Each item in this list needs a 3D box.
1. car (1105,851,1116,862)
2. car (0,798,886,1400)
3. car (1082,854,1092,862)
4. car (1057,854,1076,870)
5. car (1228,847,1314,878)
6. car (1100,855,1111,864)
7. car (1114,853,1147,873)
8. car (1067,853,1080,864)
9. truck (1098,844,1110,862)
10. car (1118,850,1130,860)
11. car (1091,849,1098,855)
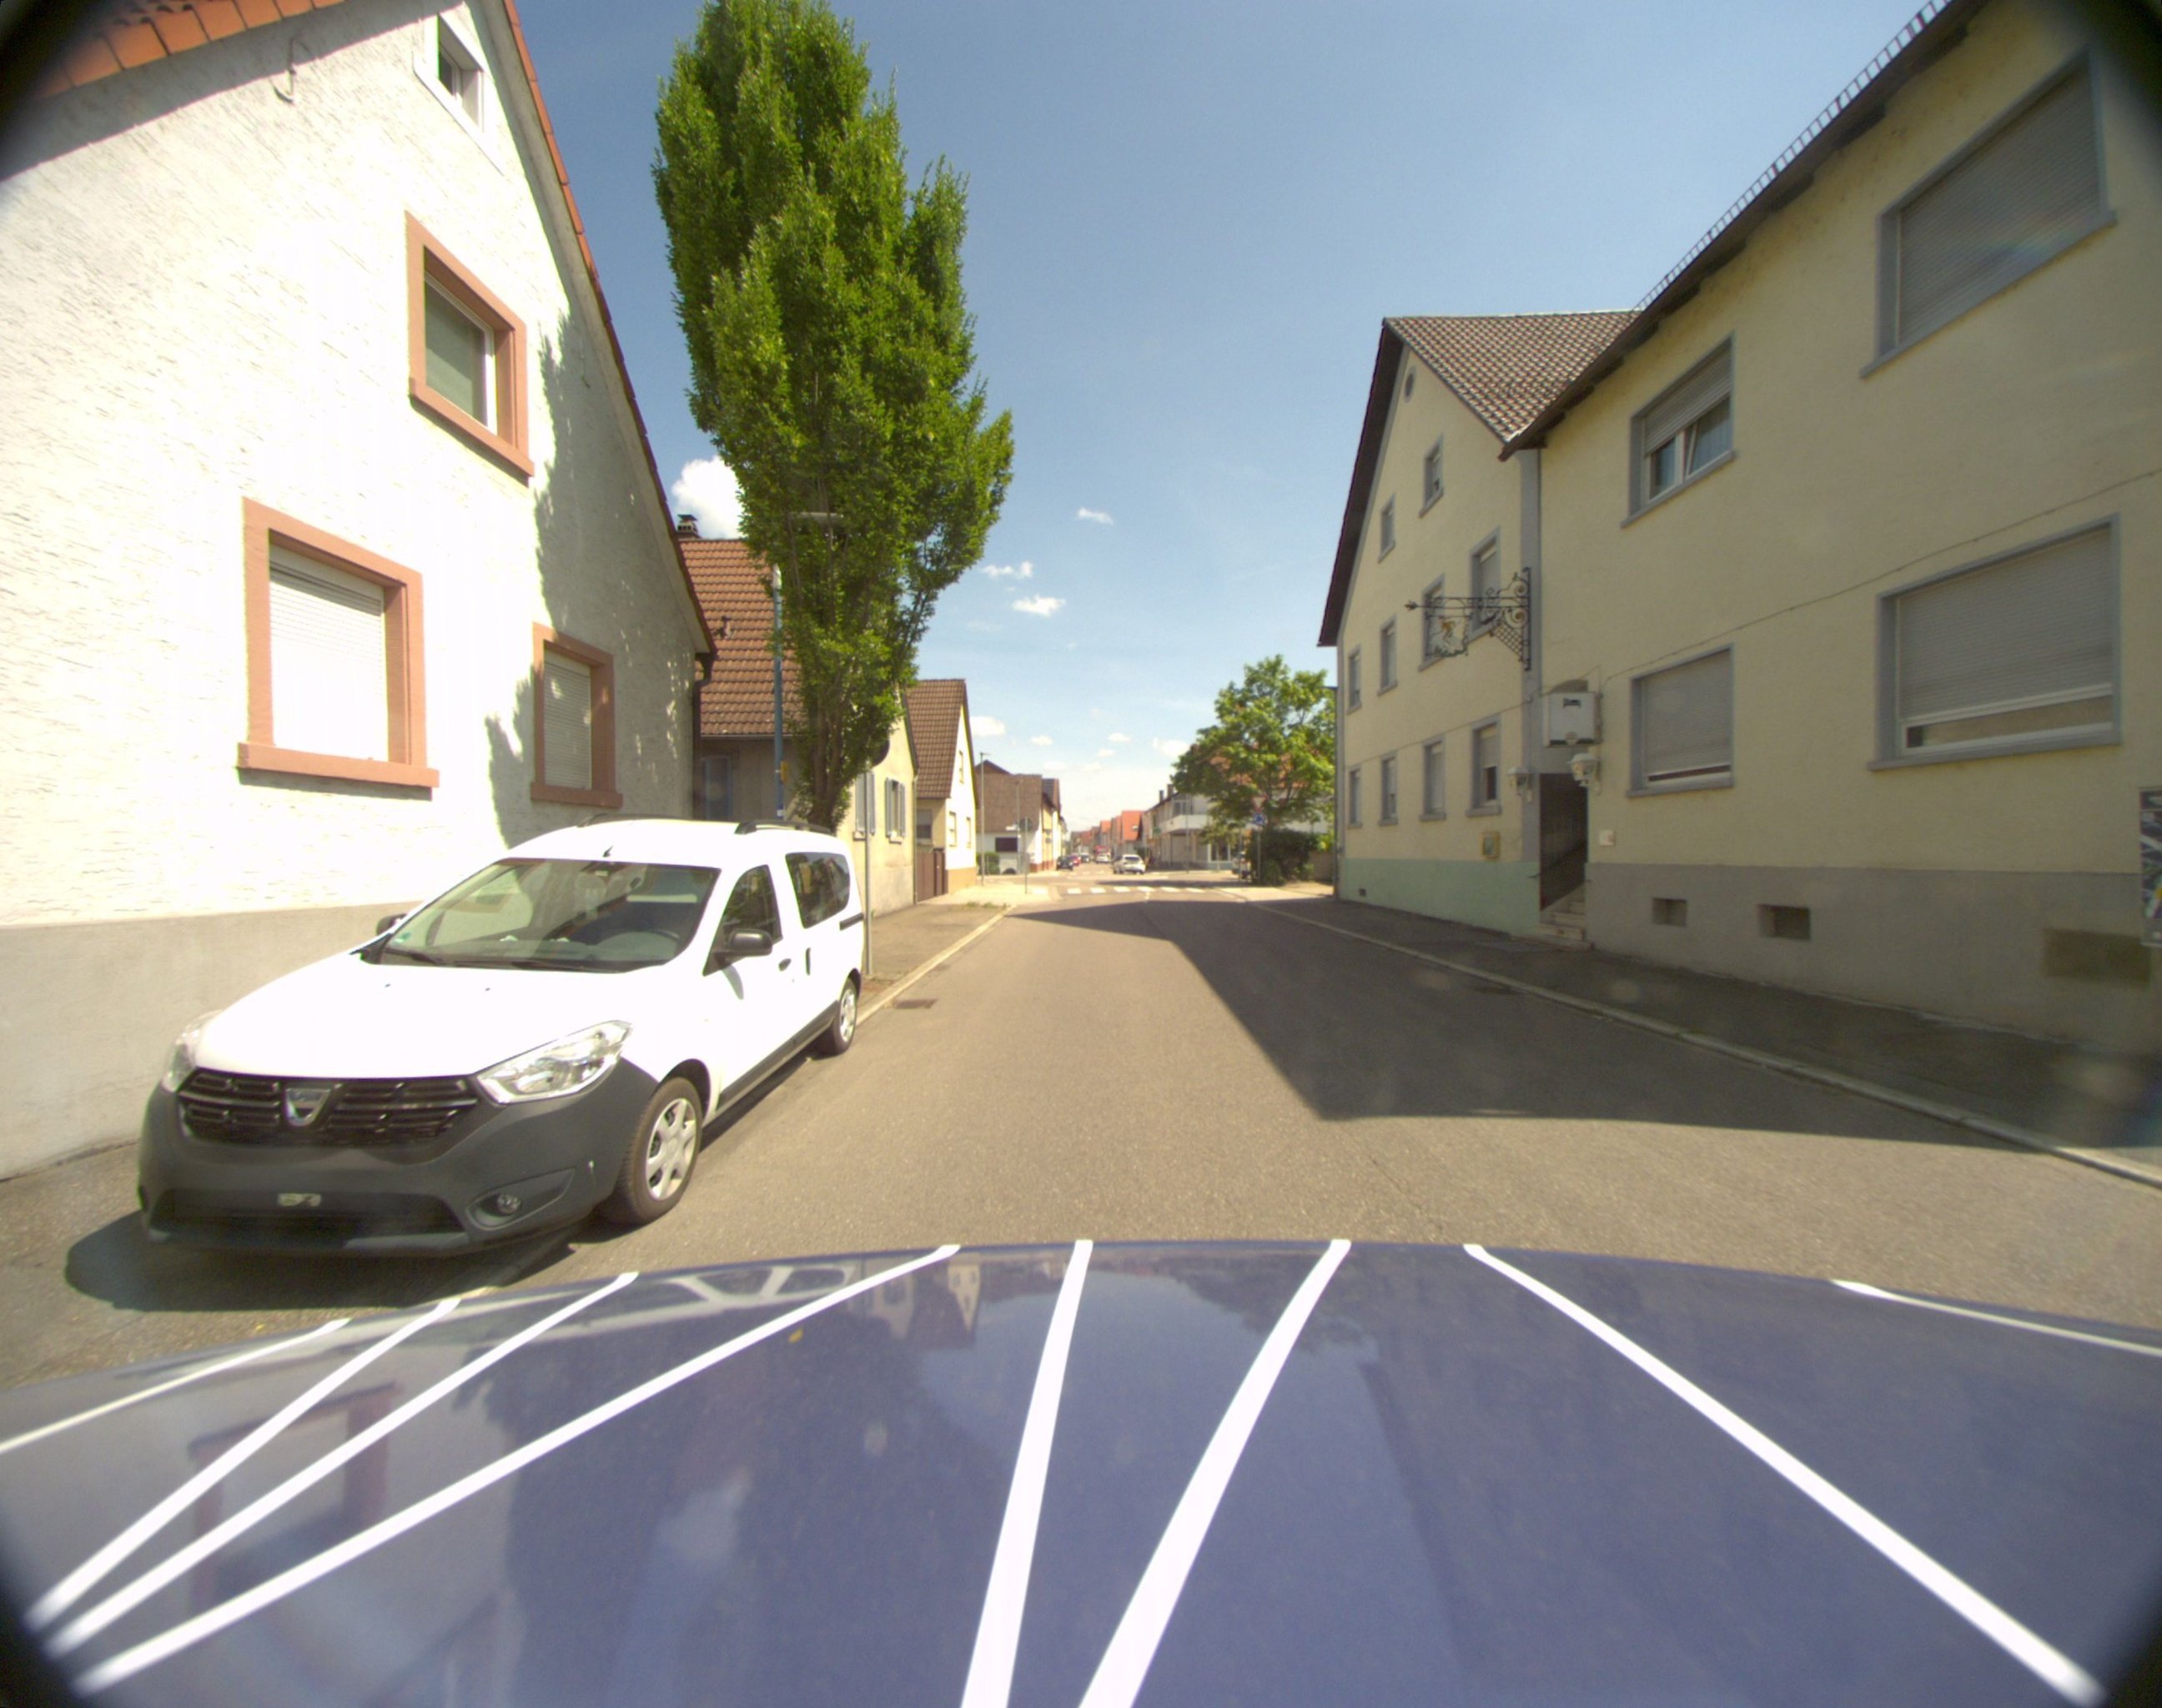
[{"bbox_3d":[5.500,0.453,142.155,1.727,2.097,4.167,-2,0,-1],"label":"car"},{"bbox_3d":[-2.653,0.747,4.718,1.693,1.832,4.763,2,0,-1],"label":"car"},{"bbox_3d":[1.006,0.651,132.409,1.598,1.385,4.168,-2,1,0],"label":"car"},{"bbox_3d":[-1.371,0.755,72.936,1.598,1.385,4.170,-1,-2,1],"label":"car"},{"bbox_3d":[10.849,0.455,43.523,4.449,1.609,1.806,-2,1,-15],"label":"car"},{"bbox_3d":[3.984,0.883,123.233,1.726,1.385,4.170,-1,-2,2],"label":"car"},{"bbox_3d":[3.626,0.630,56.649,1.599,1.385,4.165,-2,1,-8],"label":"car"},{"bbox_3d":[-1.027,0.644,101.112,1.598,1.385,4.170,-1,-2,1],"label":"car"},{"bbox_3d":[4.806,-0.224,157.887,1.999,3.420,7.073,-2,1,-2],"label":"truck"},{"bbox_3d":[6.335,0.167,112.301,1.726,1.385,4.170,-1,-2,2],"label":"car"},{"bbox_3d":[3.761,-0.576,210.348,1.727,1.385,4.166,-2,1,-4],"label":"car"}]
